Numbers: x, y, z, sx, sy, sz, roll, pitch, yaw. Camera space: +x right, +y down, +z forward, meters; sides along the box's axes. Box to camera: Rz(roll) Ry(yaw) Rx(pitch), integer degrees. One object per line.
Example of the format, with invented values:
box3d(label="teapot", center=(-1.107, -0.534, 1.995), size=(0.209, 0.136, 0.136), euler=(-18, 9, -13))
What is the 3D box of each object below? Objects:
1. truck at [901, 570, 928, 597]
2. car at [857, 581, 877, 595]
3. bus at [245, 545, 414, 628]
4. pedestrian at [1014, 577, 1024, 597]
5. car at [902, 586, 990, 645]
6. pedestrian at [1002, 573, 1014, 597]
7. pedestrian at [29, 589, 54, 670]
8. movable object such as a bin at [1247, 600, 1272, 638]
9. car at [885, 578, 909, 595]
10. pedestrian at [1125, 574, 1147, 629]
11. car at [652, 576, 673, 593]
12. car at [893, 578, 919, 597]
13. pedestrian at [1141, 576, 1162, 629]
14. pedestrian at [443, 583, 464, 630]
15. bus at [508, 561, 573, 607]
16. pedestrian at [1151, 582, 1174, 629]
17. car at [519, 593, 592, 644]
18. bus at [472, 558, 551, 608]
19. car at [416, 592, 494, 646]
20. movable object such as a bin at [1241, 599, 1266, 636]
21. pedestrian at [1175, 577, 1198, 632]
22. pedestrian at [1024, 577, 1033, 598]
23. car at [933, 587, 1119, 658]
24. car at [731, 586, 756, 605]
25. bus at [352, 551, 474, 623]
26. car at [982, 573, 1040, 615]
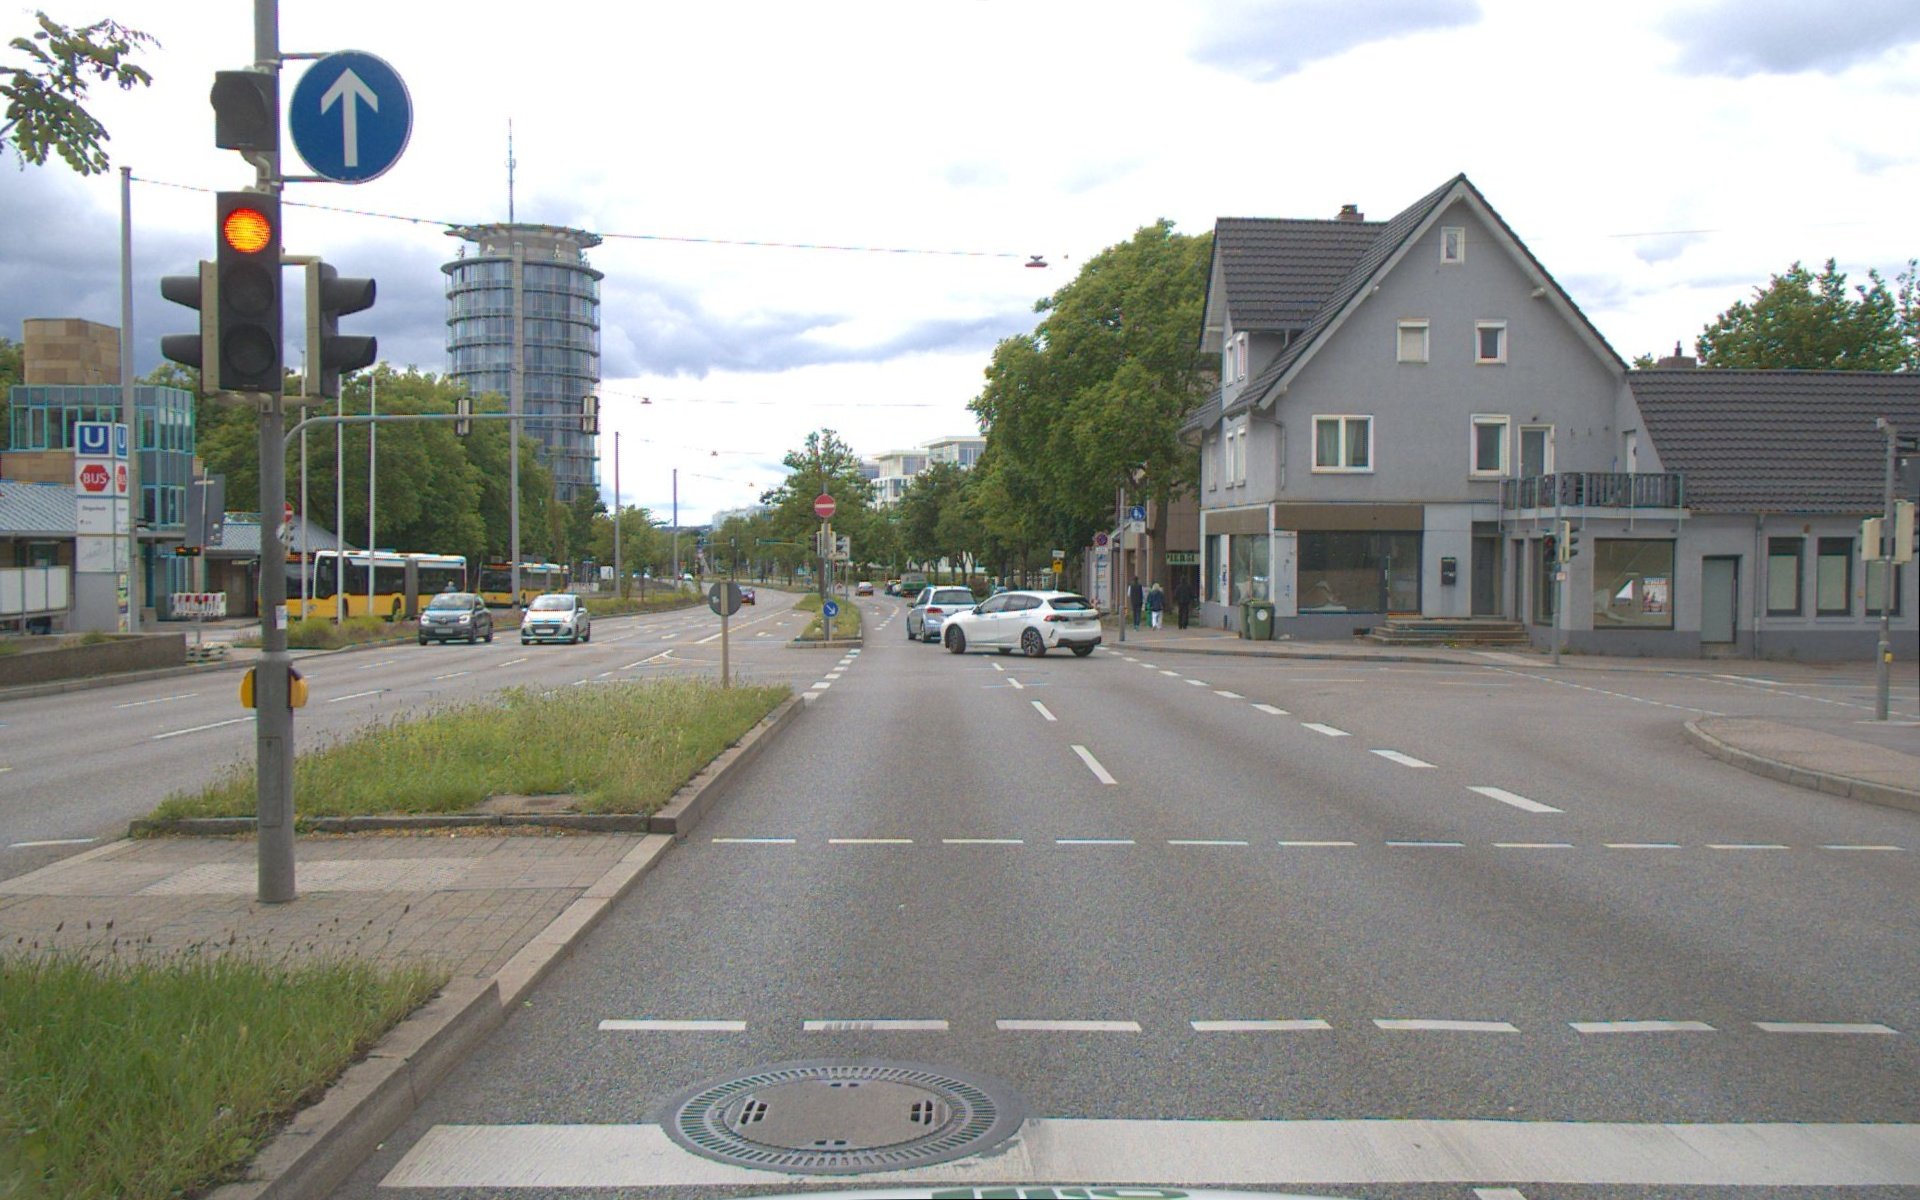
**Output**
box3d(label="truck", center=(-4.348, -1.547, 156.427), size=(2.207, 2.459, 4.927), euler=(0, 0, -5))
box3d(label="car", center=(-9.721, -1.273, 173.024), size=(1.929, 1.444, 4.017), euler=(0, 0, -6))
box3d(label="bus", center=(-27.079, -0.566, 71.694), size=(2.927, 3.307, 10.174), euler=(-1, 0, 3))
box3d(label="pedestrian", center=(4.593, -1.003, 129.188), size=(0.638, 1.597, 0.669), euler=(0, 0, -9))
box3d(label="car", center=(-0.460, 0.420, 47.857), size=(1.790, 1.567, 4.103), euler=(2, 0, -11))
box3d(label="pedestrian", center=(4.194, -1.308, 145.602), size=(0.951, 2.049, 0.981), euler=(1, -1, -2))
box3d(label="pedestrian", center=(-18.383, 0.581, 33.102), size=(0.414, 1.619, 0.353), euler=(0, 0, -30))
box3d(label="movable object such as a bin", center=(8.002, 0.494, 44.164), size=(0.518, 0.997, 0.736), euler=(0, 0, -1))
box3d(label="car", center=(-6.603, -1.402, 173.782), size=(2.207, 1.676, 4.927), euler=(0, 0, -6))
box3d(label="pedestrian", center=(5.835, 0.047, 54.963), size=(0.690, 1.811, 0.871), euler=(-1, 0, 5))
box3d(label="car", center=(-35.909, -1.845, 199.742), size=(1.925, 2.049, 3.999), euler=(1, 0, -1))
box3d(label="car", center=(-5.402, -1.255, 165.004), size=(2.207, 1.787, 4.927), euler=(0, 0, -5))
box3d(label="pedestrian", center=(6.672, 0.076, 57.569), size=(0.690, 1.811, 0.871), euler=(0, 0, 5))
box3d(label="pedestrian", center=(-21.009, 0.270, 68.630), size=(0.647, 1.930, 0.686), euler=(0, 0, 0))
box3d(label="bus", center=(-31.145, -1.142, 123.011), size=(3.081, 3.281, 7.762), euler=(0, 0, -2))
box3d(label="pedestrian", center=(6.654, 0.179, 54.479), size=(0.690, 1.533, 0.870), euler=(0, 0, 3))
box3d(label="car", center=(-12.360, 0.546, 50.727), size=(1.651, 1.488, 3.552), euler=(0, 0, -5))
box3d(label="bus", center=(-30.783, -1.126, 114.012), size=(3.082, 3.281, 10.279), euler=(0, 0, -3))
box3d(label="car", center=(-15.469, 0.561, 50.815), size=(1.652, 1.606, 3.344), euler=(0, 0, -6))
box3d(label="movable object such as a bin", center=(7.972, 0.470, 44.954), size=(0.518, 0.997, 0.736), euler=(0, 0, -1))
box3d(label="pedestrian", center=(7.412, 0.143, 54.233), size=(0.690, 1.791, 1.053), euler=(0, 0, 5))
box3d(label="pedestrian", center=(5.358, -0.993, 129.298), size=(0.638, 1.597, 0.669), euler=(0, 0, -9))
box3d(label="car", center=(1.477, 0.480, 38.497), size=(1.983, 1.503, 4.190), euler=(0, 1, -42))
box3d(label="car", center=(-17.609, -0.390, 134.572), size=(1.668, 1.518, 3.560), euler=(-1, 0, -2))
box3d(label="bus", center=(-26.542, -0.619, 80.718), size=(2.927, 3.327, 7.879), euler=(-1, 0, 3))
box3d(label="car", center=(1.958, -0.212, 64.411), size=(1.852, 1.521, 4.095), euler=(-1, 0, -4))
